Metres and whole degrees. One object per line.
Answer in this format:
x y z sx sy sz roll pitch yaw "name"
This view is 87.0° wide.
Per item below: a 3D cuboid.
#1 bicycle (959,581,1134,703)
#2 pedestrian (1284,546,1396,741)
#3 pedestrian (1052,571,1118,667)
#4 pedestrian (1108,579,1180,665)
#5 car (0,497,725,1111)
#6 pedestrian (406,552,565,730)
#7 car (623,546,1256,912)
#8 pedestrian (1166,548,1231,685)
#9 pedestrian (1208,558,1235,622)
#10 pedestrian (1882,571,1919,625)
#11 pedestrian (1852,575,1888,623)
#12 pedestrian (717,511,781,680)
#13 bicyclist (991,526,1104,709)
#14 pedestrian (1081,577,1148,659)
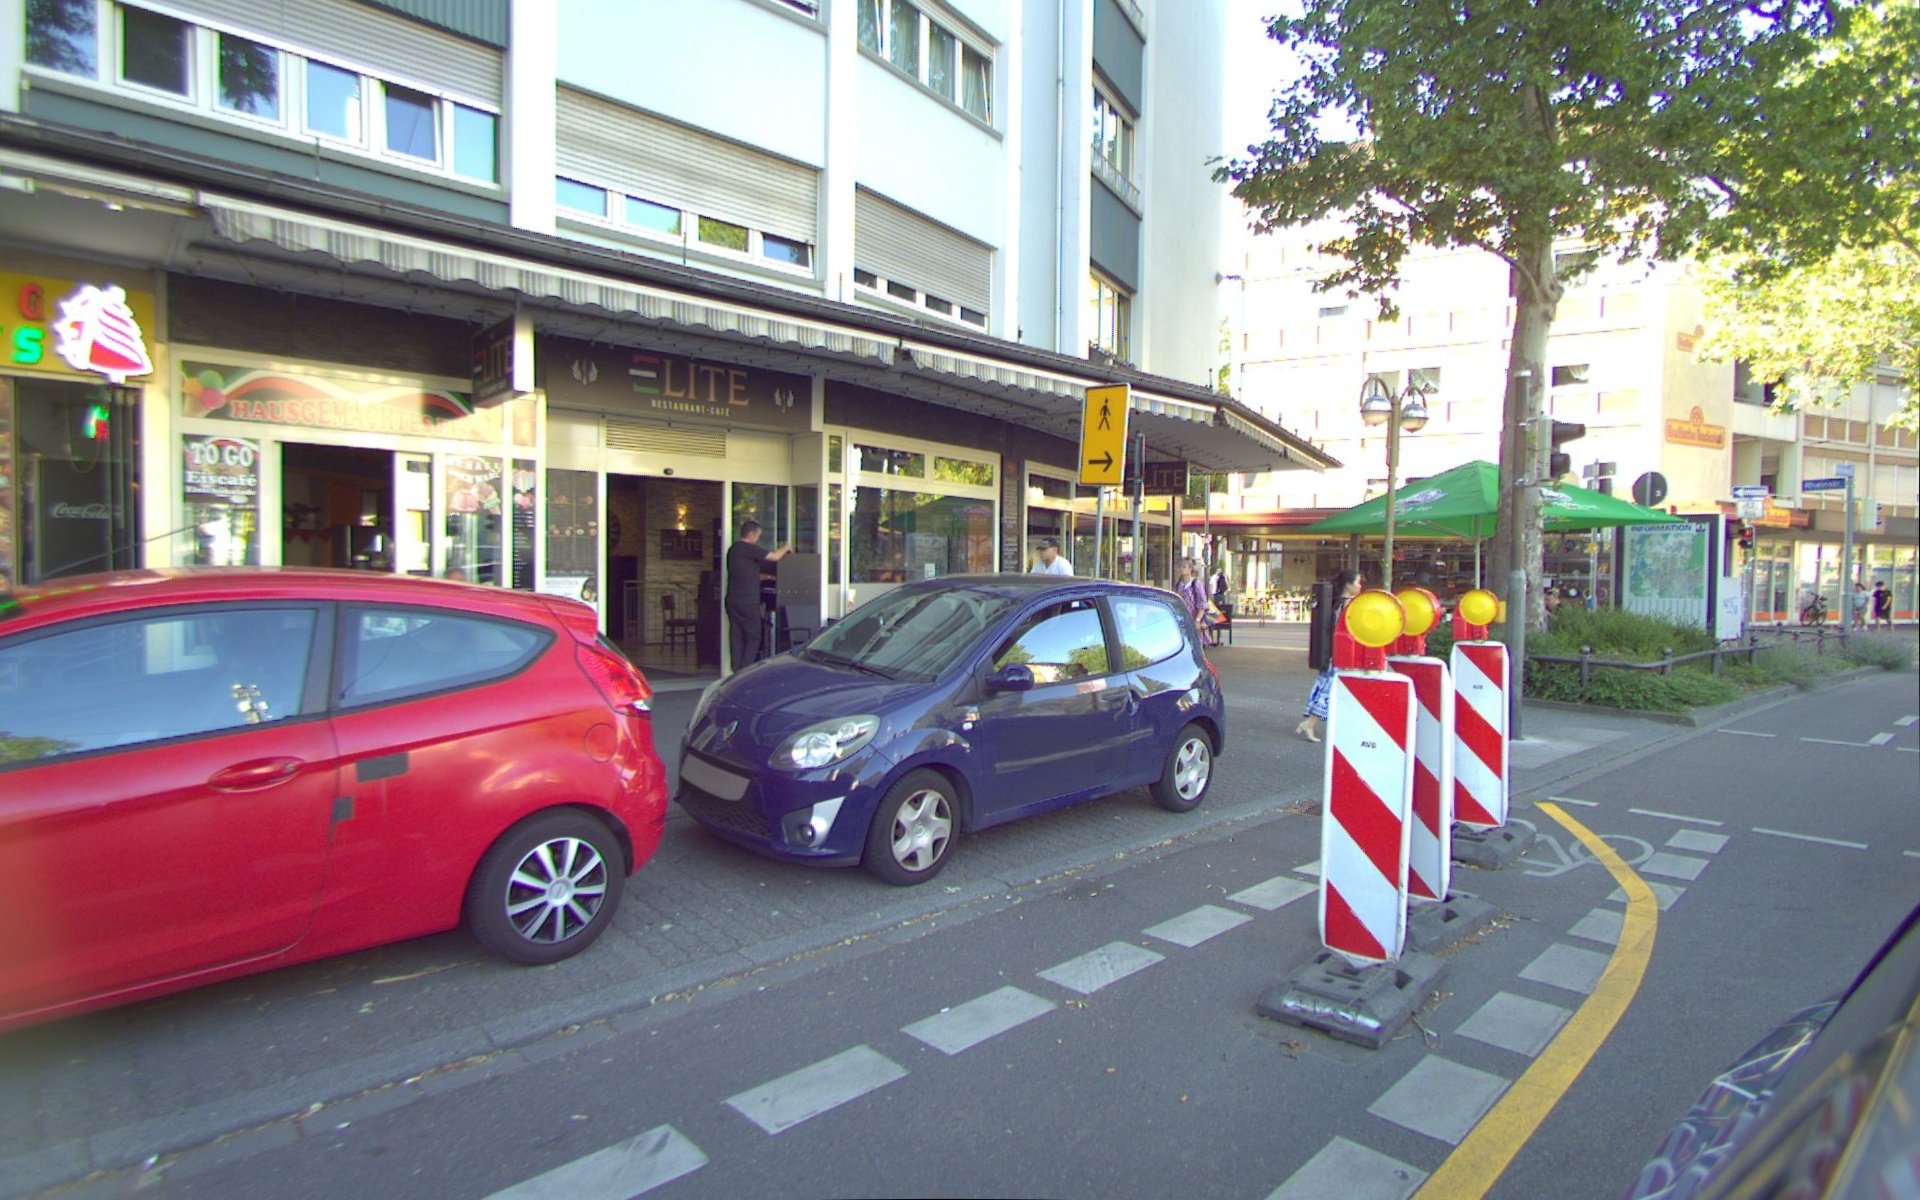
0.955 0.415 10.872 1.854 1.143 0.751 1 4 -43 "bicycle"
3.450 0.362 9.184 0.783 1.666 0.583 -1 4 -42 "pedestrian"
1.768 0.248 14.447 0.685 1.323 0.793 0 1 -13 "pedestrian"
2.675 0.301 14.803 0.685 1.207 0.881 0 1 -17 "pedestrian"
-2.943 0.479 3.491 3.761 1.614 1.784 -1 5 -44 "car"
-3.941 0.292 8.386 0.937 1.352 1.069 0 2 -41 "pedestrian"
0.041 0.496 6.159 3.551 1.485 1.769 -1 5 -43 "car"
2.990 0.187 12.691 0.624 1.657 0.525 2 1 34 "pedestrian"
8.242 -0.321 31.908 0.637 1.983 0.889 1 1 4 "pedestrian"
28.798 -0.071 30.998 0.520 1.605 0.630 0 1 -21 "pedestrian"
28.474 -0.040 31.673 0.520 1.455 0.630 0 1 -21 "pedestrian"
-2.310 -0.065 11.068 0.547 1.800 0.395 -2 4 -43 "pedestrian"
0.932 0.151 10.814 0.910 1.848 0.752 -1 3 -42 "bicyclist"
2.394 0.261 15.666 0.776 1.207 0.648 0 2 -34 "pedestrian"
